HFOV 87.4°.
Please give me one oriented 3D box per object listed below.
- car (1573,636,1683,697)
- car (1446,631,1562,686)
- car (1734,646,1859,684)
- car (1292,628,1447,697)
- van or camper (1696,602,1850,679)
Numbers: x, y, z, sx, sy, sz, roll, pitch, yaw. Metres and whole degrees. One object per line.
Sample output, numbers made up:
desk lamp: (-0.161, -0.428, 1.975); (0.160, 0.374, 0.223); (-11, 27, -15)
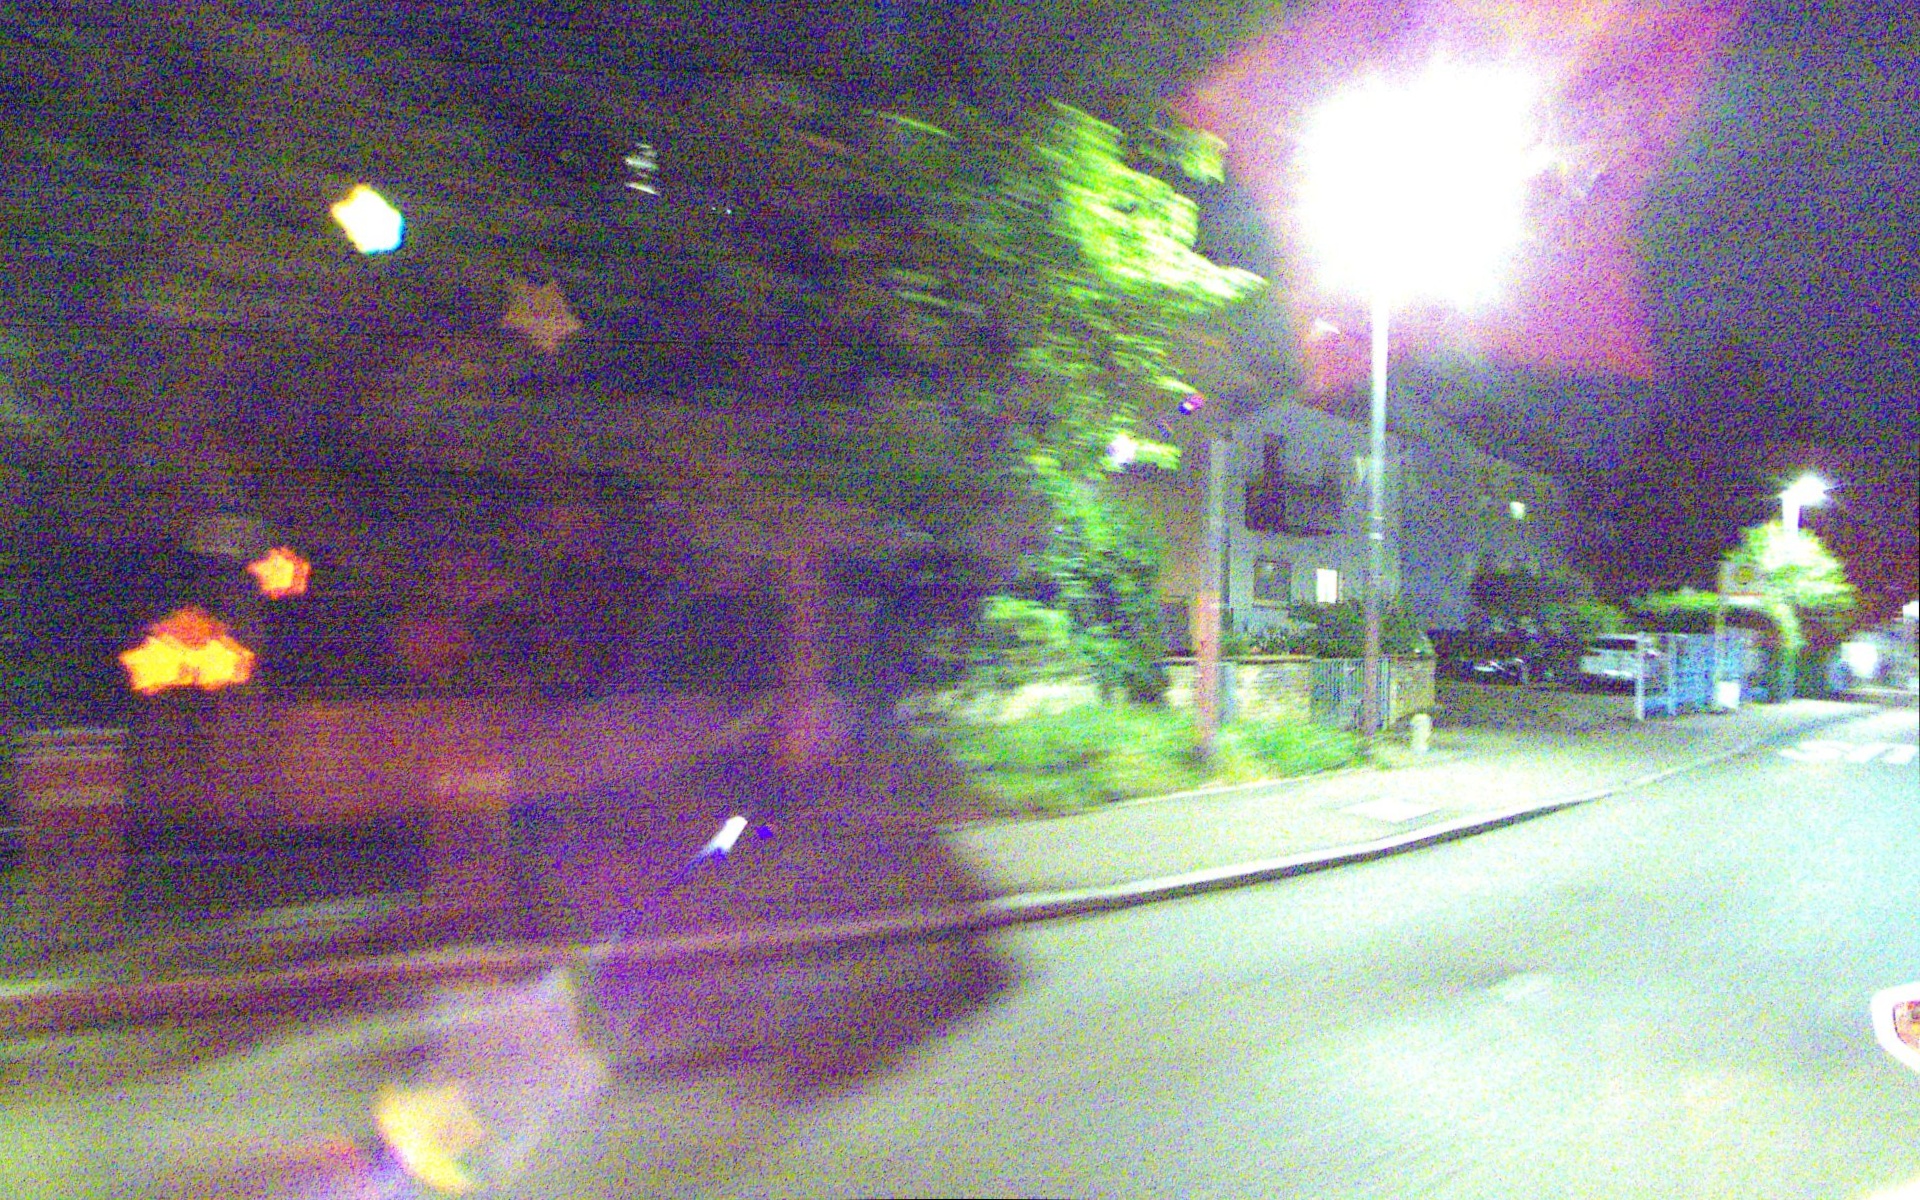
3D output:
car: (18.163, 1.754, 27.248); (1.952, 1.458, 3.979); (1, -2, 42)
car: (15.923, 1.669, 29.319); (3.972, 1.446, 1.831); (3, -2, -43)
car: (40.001, 3.089, 48.120); (2.050, 1.634, 4.378); (5, -4, -41)
car: (9.644, 1.411, 23.510); (4.089, 1.478, 1.712); (2, -2, -41)
van or camper: (37.025, 1.825, 45.950); (5.331, 3.150, 2.125); (1, -5, 38)
